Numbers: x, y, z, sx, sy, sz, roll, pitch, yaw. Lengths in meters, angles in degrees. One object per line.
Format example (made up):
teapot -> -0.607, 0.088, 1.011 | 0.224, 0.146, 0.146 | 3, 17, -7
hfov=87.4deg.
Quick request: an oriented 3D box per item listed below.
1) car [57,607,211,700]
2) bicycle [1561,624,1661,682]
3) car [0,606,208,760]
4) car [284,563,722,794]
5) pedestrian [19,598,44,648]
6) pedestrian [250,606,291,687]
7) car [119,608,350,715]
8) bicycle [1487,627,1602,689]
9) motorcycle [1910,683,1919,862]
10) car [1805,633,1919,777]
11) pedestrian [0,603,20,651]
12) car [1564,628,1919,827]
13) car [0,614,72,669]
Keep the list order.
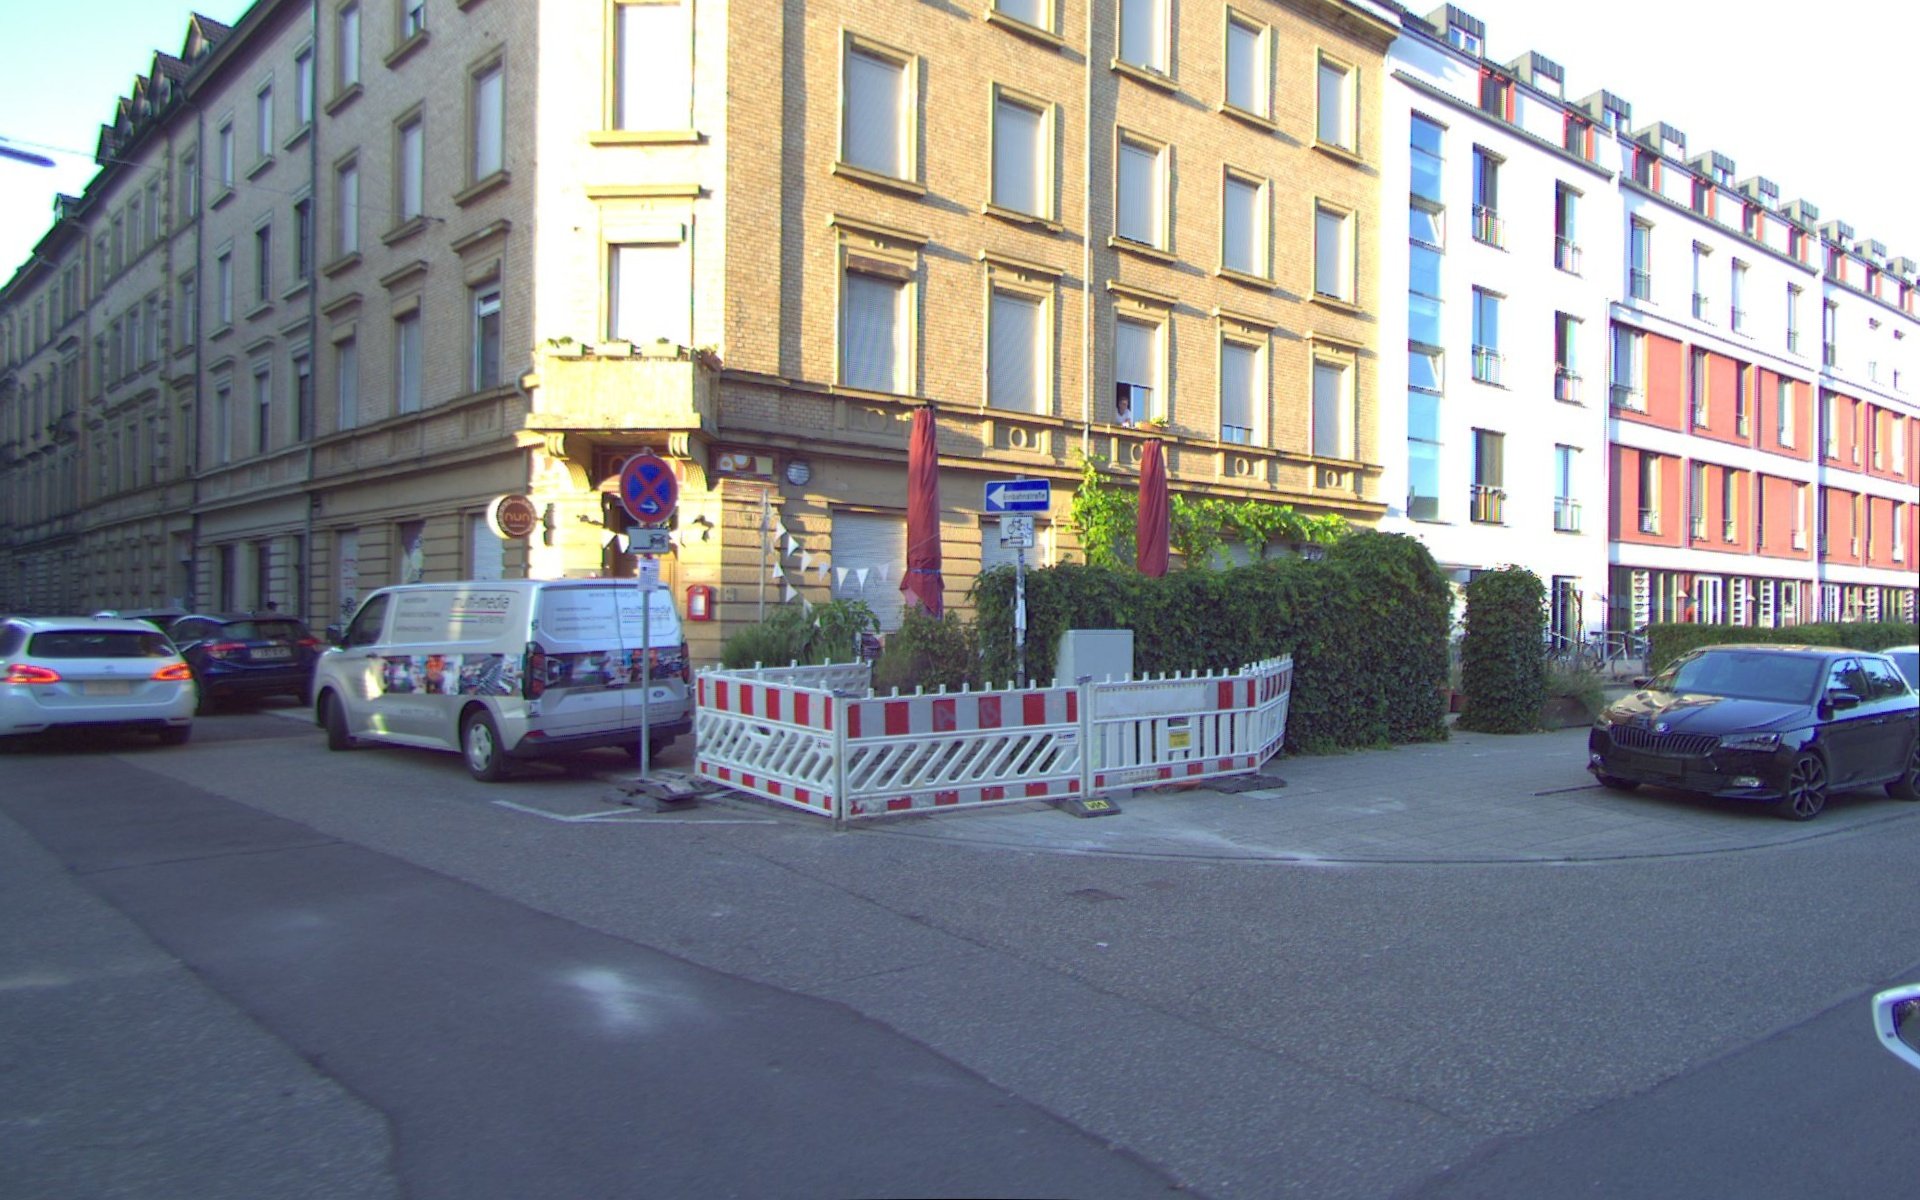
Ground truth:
car -> -16.204, 0.977, 19.651 | 3.939, 1.644, 1.577 | -1, -1, 39
bicycle -> 14.356, 1.150, 22.186 | 0.603, 1.163, 1.768 | 1, 0, -28
car -> -10.794, 0.894, 12.201 | 4.532, 1.543, 1.811 | -1, -2, 42
car -> -5.221, 0.709, 11.160 | 5.209, 2.001, 2.201 | 0, -1, 36
pedestrian -> -33.966, 0.834, 36.743 | 0.490, 1.831, 0.592 | 2, 1, 37
pedestrian -> -14.909, 0.996, 21.718 | 0.490, 1.709, 0.592 | 2, 1, 37
car -> -12.254, 0.948, 16.918 | 3.854, 1.592, 2.016 | -1, -1, 35
bicycle -> 12.136, 1.185, 20.923 | 0.802, 1.157, 1.906 | 1, 0, -29
motorcycle -> 7.381, 1.153, 6.588 | 2.044, 1.224, 0.845 | 1, -4, -21
car -> 12.141, 1.215, 12.357 | 3.975, 1.550, 1.641 | 1, -1, -34
pedestrian -> -34.398, 0.968, 36.266 | 0.490, 1.709, 0.592 | 2, 1, 37
car -> 7.791, 1.084, 9.782 | 3.800, 1.554, 1.695 | 1, -1, -31
car -> -27.072, 1.147, 28.814 | 3.939, 1.479, 1.780 | -1, -1, 39
